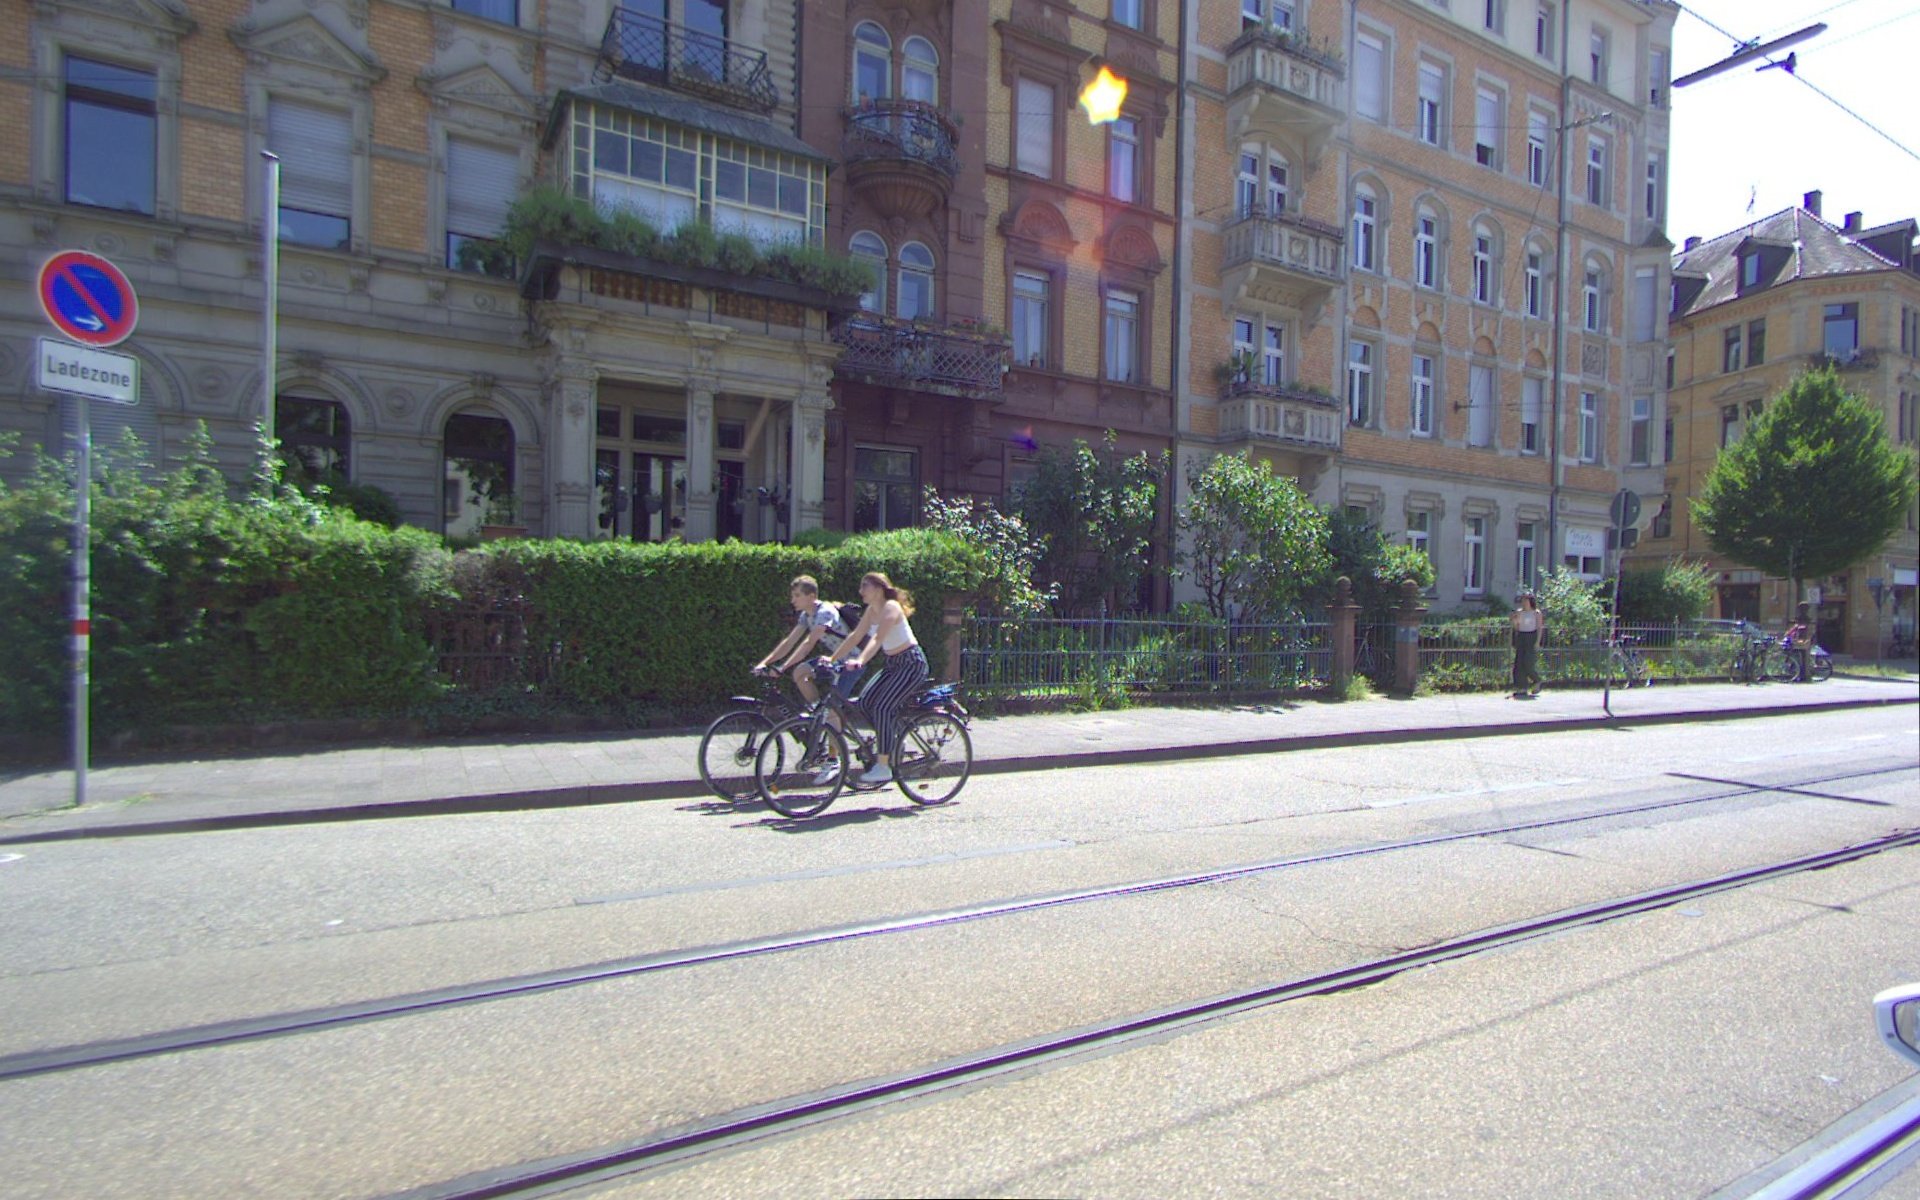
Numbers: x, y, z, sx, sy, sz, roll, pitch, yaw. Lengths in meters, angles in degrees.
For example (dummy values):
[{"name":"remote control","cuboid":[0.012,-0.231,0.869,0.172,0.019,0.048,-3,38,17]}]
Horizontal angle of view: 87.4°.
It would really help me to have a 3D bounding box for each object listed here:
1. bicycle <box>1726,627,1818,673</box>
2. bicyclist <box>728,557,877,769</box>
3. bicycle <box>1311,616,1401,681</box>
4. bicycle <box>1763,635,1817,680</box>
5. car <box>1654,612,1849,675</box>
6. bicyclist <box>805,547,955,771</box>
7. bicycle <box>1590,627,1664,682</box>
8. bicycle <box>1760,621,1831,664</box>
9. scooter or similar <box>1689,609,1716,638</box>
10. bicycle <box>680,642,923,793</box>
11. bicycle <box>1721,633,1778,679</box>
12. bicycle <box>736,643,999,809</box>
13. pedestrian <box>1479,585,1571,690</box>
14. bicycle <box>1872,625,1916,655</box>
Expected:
[{"name":"bicycle","cuboid":[20.206,1.226,25.028,0.543,1.051,1.700,1,1,-25]},{"name":"bicyclist","cuboid":[-1.281,0.491,8.164,1.016,1.605,0.631,1,-1,-30]},{"name":"bicycle","cuboid":[6.937,0.837,17.676,0.489,1.057,1.504,1,0,-28]},{"name":"bicycle","cuboid":[19.454,1.333,23.526,1.692,0.996,0.436,1,1,-32]},{"name":"car","cuboid":[21.285,1.135,27.160,1.693,1.447,3.743,3,0,-29]},{"name":"bicyclist","cuboid":[-0.599,0.424,7.502,0.941,1.565,0.589,1,-1,-30]},{"name":"bicycle","cuboid":[13.290,1.072,20.012,1.692,1.000,0.494,1,4,-32]},{"name":"bicycle","cuboid":[26.423,1.329,31.767,1.814,1.244,0.502,4,0,-2]},{"name":"scooter or similar","cuboid":[33.958,1.061,45.953,0.486,1.290,1.283,1,0,12]},{"name":"bicycle","cuboid":[-1.265,0.901,8.172,1.853,1.092,0.626,1,-1,-31]},{"name":"bicycle","cuboid":[17.710,1.242,22.515,1.692,0.996,0.436,1,1,-32]},{"name":"bicycle","cuboid":[-0.658,0.879,7.471,1.868,1.092,0.578,1,-1,-31]},{"name":"pedestrian","cuboid":[9.917,0.643,17.642,1.125,1.746,0.847,1,3,-29]},{"name":"bicycle","cuboid":[38.416,1.654,41.301,2.116,1.203,0.636,1,0,-27]}]
